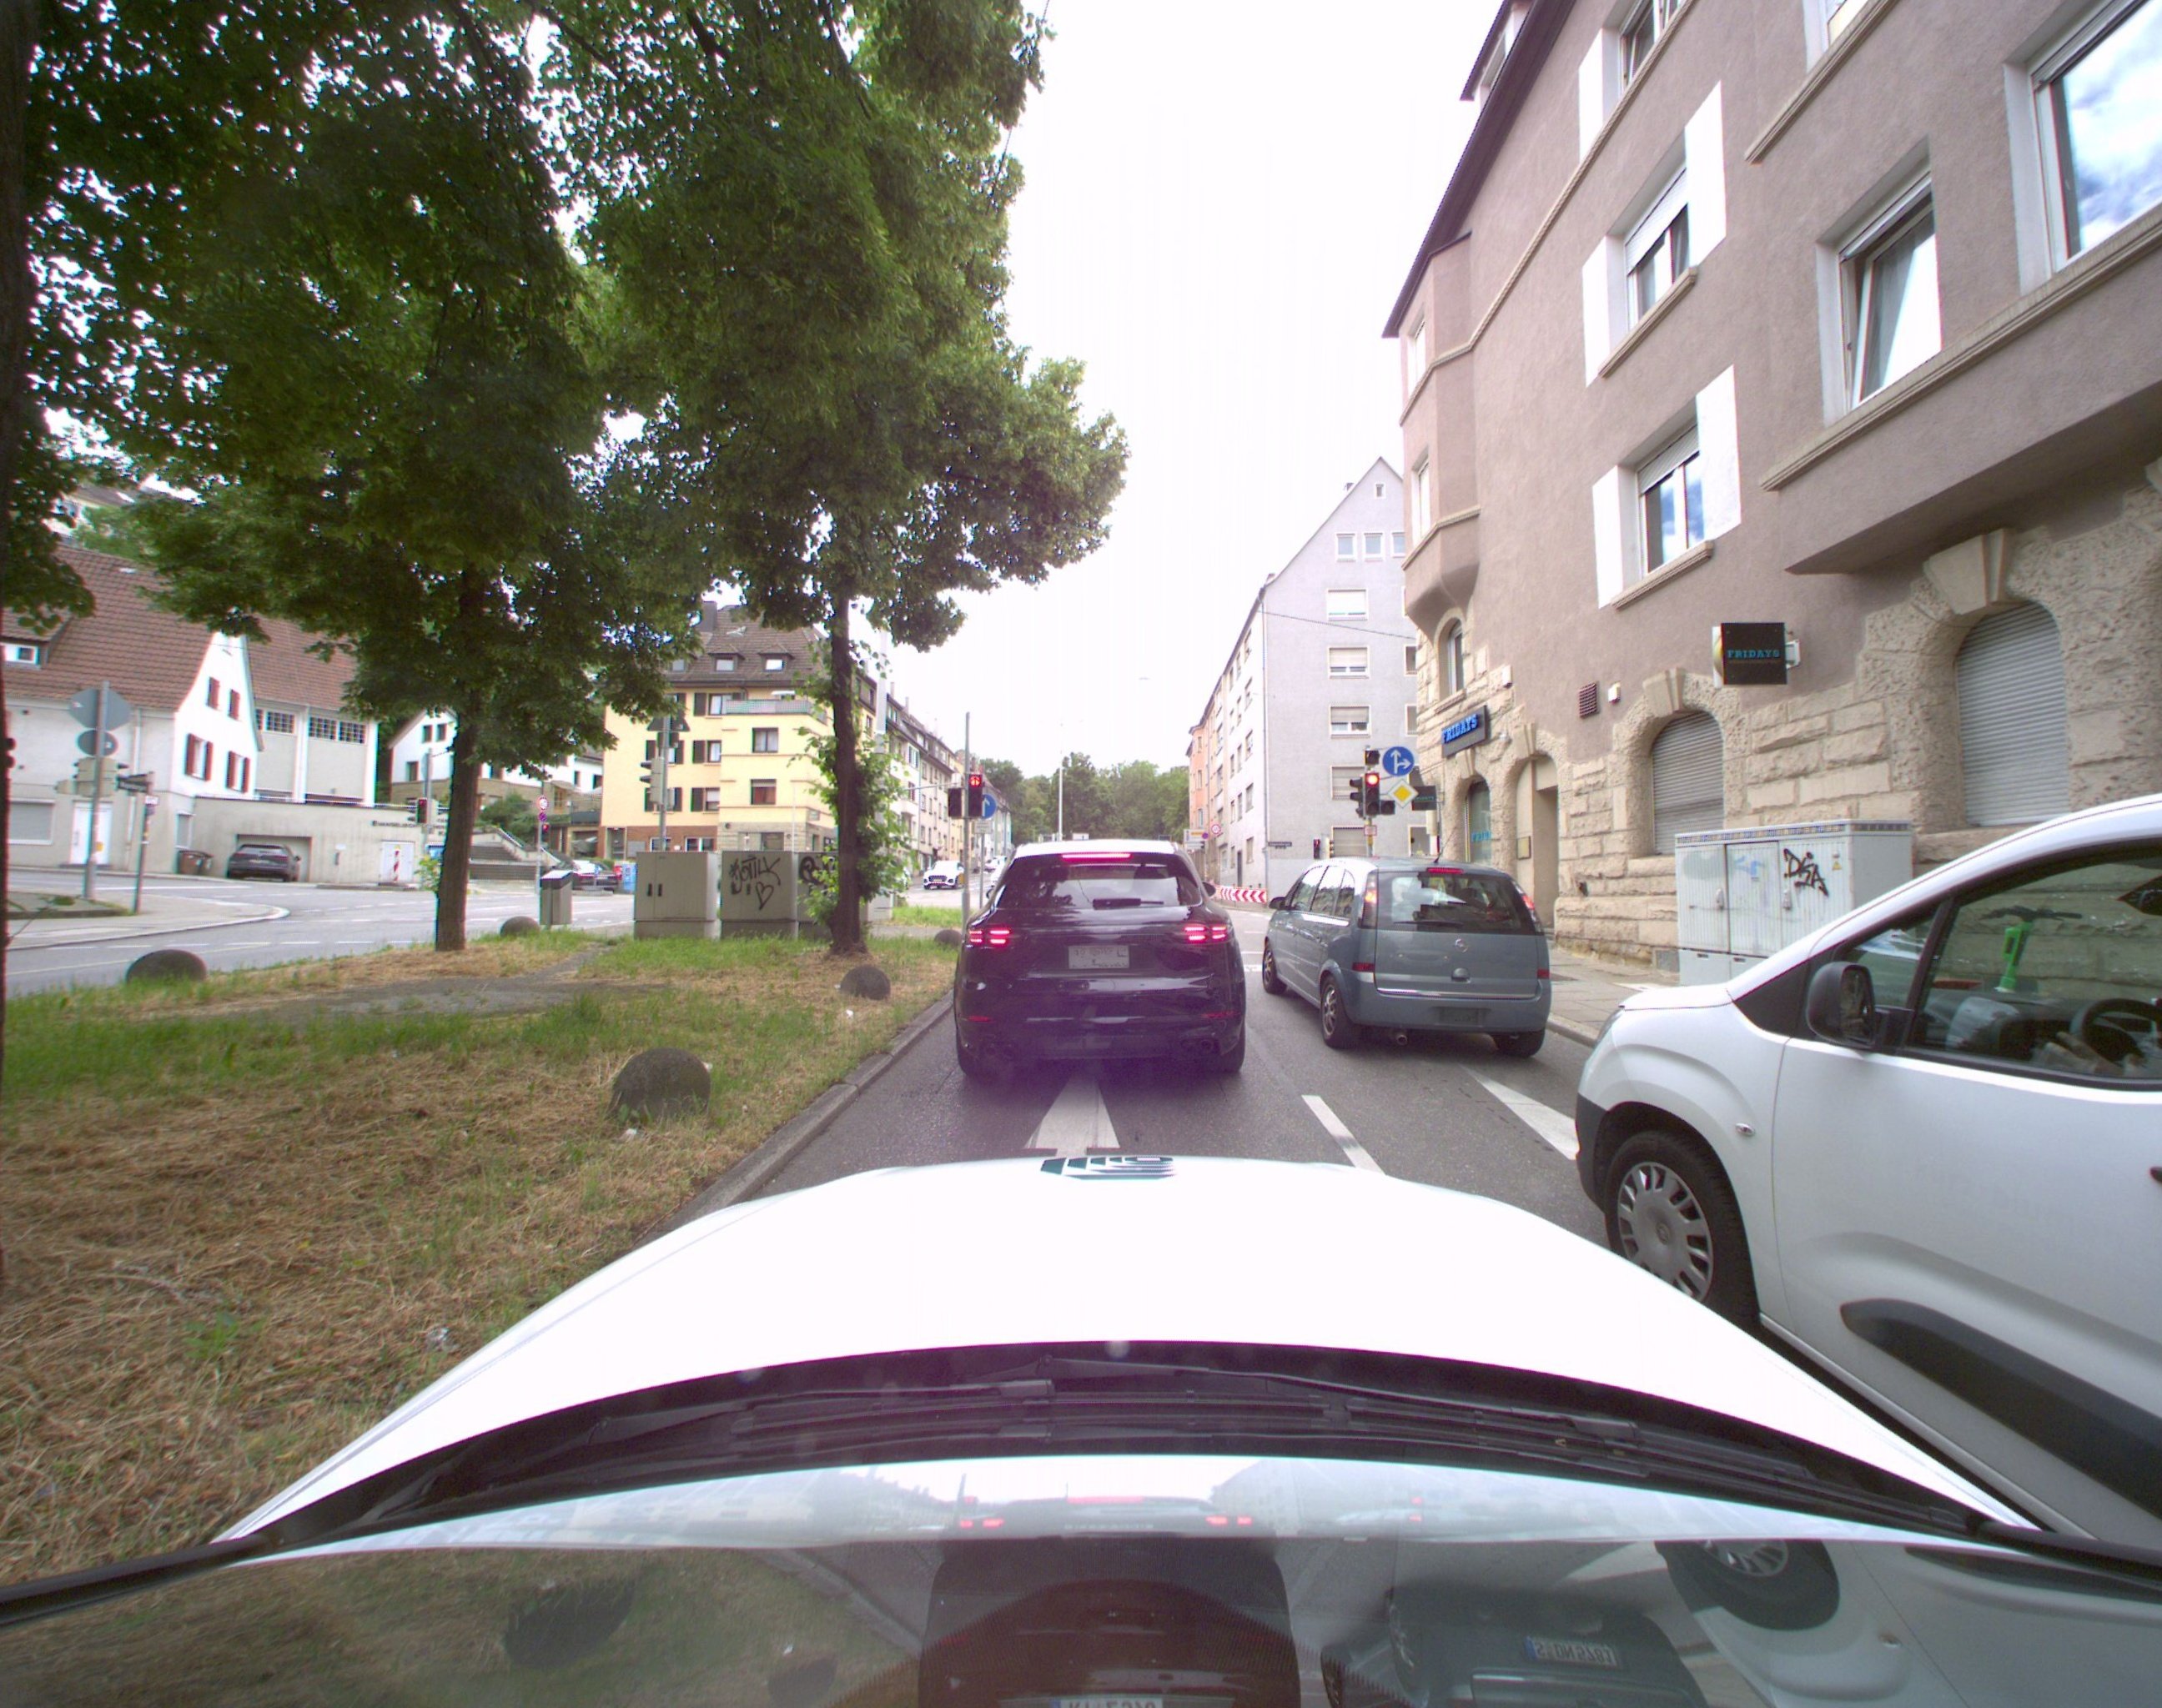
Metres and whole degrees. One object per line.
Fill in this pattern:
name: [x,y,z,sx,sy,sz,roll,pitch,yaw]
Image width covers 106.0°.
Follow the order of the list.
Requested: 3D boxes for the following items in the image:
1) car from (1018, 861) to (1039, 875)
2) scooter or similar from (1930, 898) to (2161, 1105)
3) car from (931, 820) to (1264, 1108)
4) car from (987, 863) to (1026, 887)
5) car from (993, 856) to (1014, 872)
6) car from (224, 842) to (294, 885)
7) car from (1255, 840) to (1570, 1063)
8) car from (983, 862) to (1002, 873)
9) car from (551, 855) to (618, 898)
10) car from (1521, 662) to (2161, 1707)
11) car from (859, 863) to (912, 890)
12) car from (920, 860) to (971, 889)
car: [-5.512,1.503,86.007,1.611,1.480,3.828,-1,-2,5]
scooter or similar: [6.457,0.875,5.251,0.524,1.104,1.424,-1,-1,4]
car: [0.158,0.669,6.833,1.948,1.674,4.001,-1,-1,2]
car: [-4.597,1.295,50.829,1.854,1.388,4.096,0,0,2]
car: [-9.974,1.281,105.060,2.008,2.045,4.669,0,-1,2]
car: [-32.161,0.358,31.835,3.019,1.405,1.681,2,-4,42]
car: [2.866,0.740,7.921,1.622,1.598,3.670,3,0,2]
car: [-10.808,1.643,99.253,1.732,1.387,3.815,0,0,2]
car: [-23.580,1.024,38.653,3.477,1.596,1.881,7,4,44]
car: [2.818,0.599,1.031,1.969,1.775,4.676,3,0,0]
car: [-11.209,1.257,46.933,1.835,1.486,3.903,0,0,5]
car: [-8.003,1.182,48.380,1.965,1.610,4.562,0,0,4]
